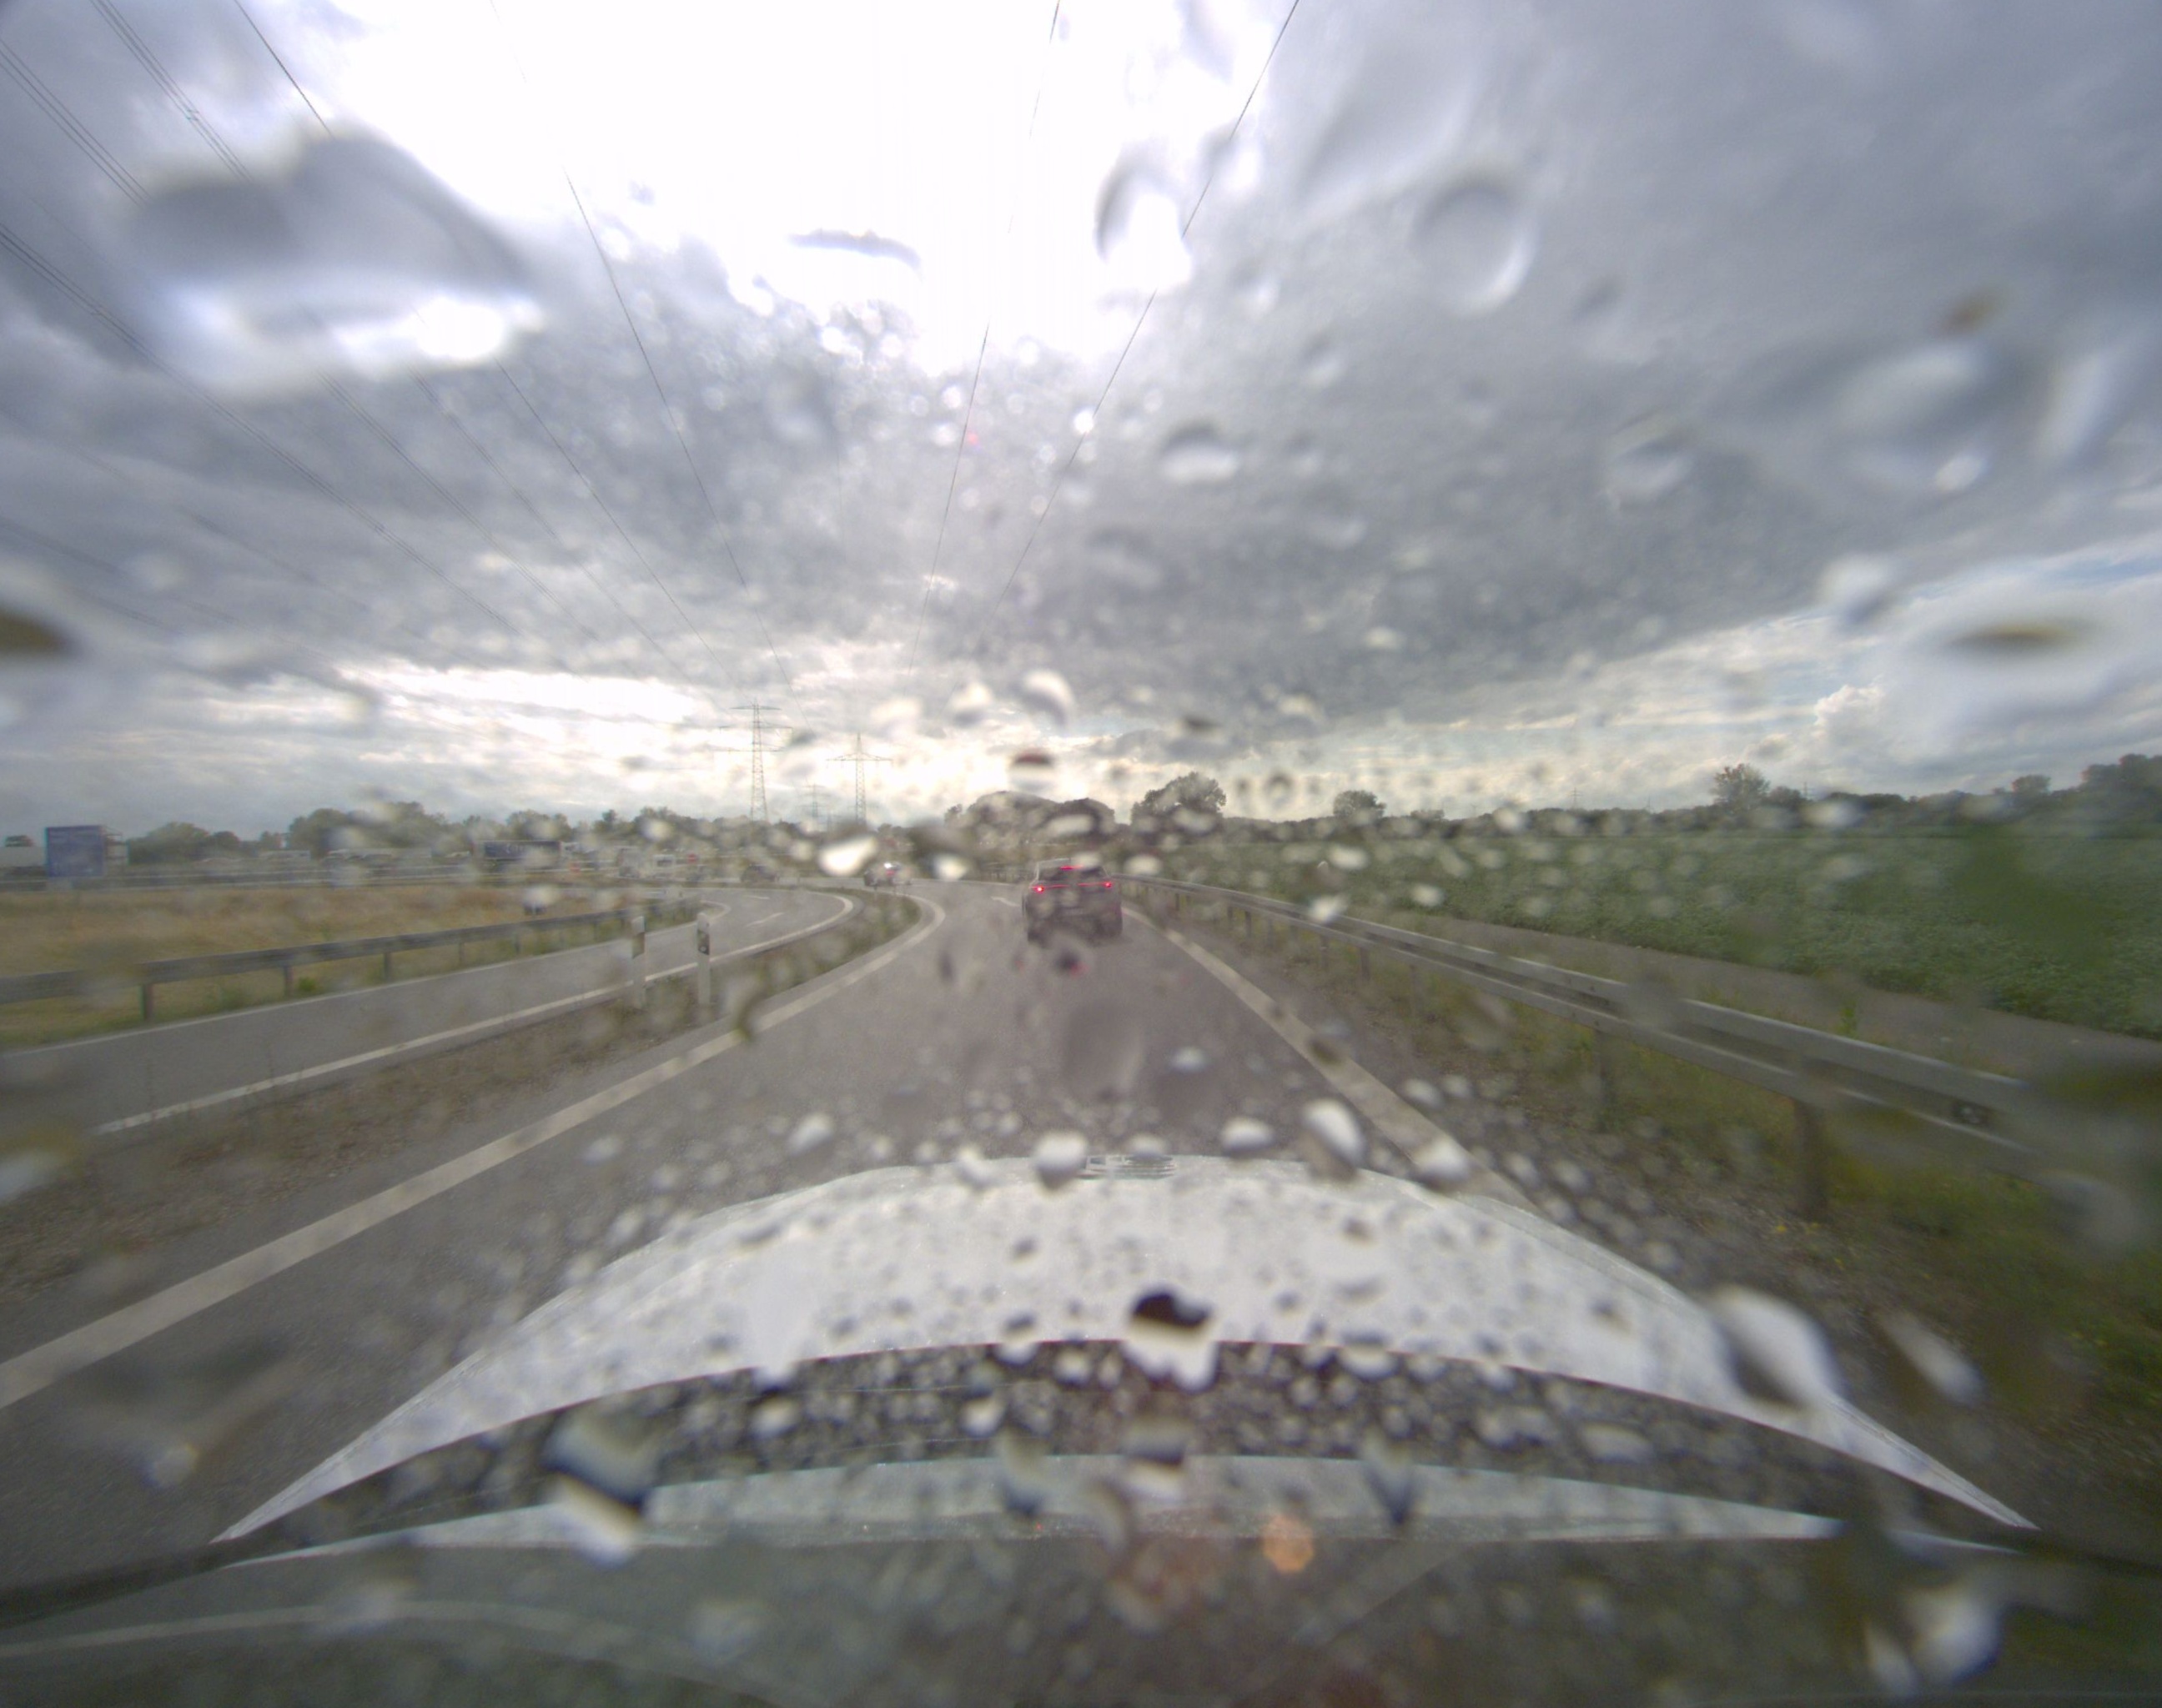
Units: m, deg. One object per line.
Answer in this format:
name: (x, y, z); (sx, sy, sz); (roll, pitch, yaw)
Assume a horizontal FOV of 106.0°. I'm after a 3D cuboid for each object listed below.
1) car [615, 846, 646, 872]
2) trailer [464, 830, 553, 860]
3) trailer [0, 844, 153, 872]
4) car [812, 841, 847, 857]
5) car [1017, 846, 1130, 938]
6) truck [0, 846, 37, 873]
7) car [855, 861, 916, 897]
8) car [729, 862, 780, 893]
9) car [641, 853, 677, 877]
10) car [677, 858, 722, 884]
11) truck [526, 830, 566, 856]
car: (-58.923, 0.558, 106.663); (3.153, 2.950, 7.148); (-2, 3, -26)
trailer: (-99.097, -1.676, 141.423); (3.024, 4.634, 13.365); (0, 3, 17)
trailer: (-142.214, 0.473, 115.305); (2.827, 3.671, 14.167); (0, 1, 18)
car: (-60.463, -1.307, 195.768); (3.357, 3.610, 9.086); (-1, 1, 17)
car: (-0.294, 0.658, 16.801); (1.990, 1.566, 4.142); (-2, 1, -5)
truck: (-144.587, 0.720, 107.657); (2.793, 3.540, 7.415); (0, 1, 18)
car: (-12.833, 1.568, 53.236); (2.136, 2.017, 5.477); (-2, 2, -33)
car: (-28.111, 1.930, 70.036); (2.372, 2.306, 5.067); (-3, 3, -42)
car: (-46.167, 1.208, 89.031); (2.371, 2.306, 5.070); (-3, 3, -39)
car: (-37.917, 1.623, 80.923); (5.065, 2.306, 2.373); (1, 4, 44)
truck: (-97.196, -2.042, 147.935); (3.045, 4.478, 5.096); (-1, 3, 16)
